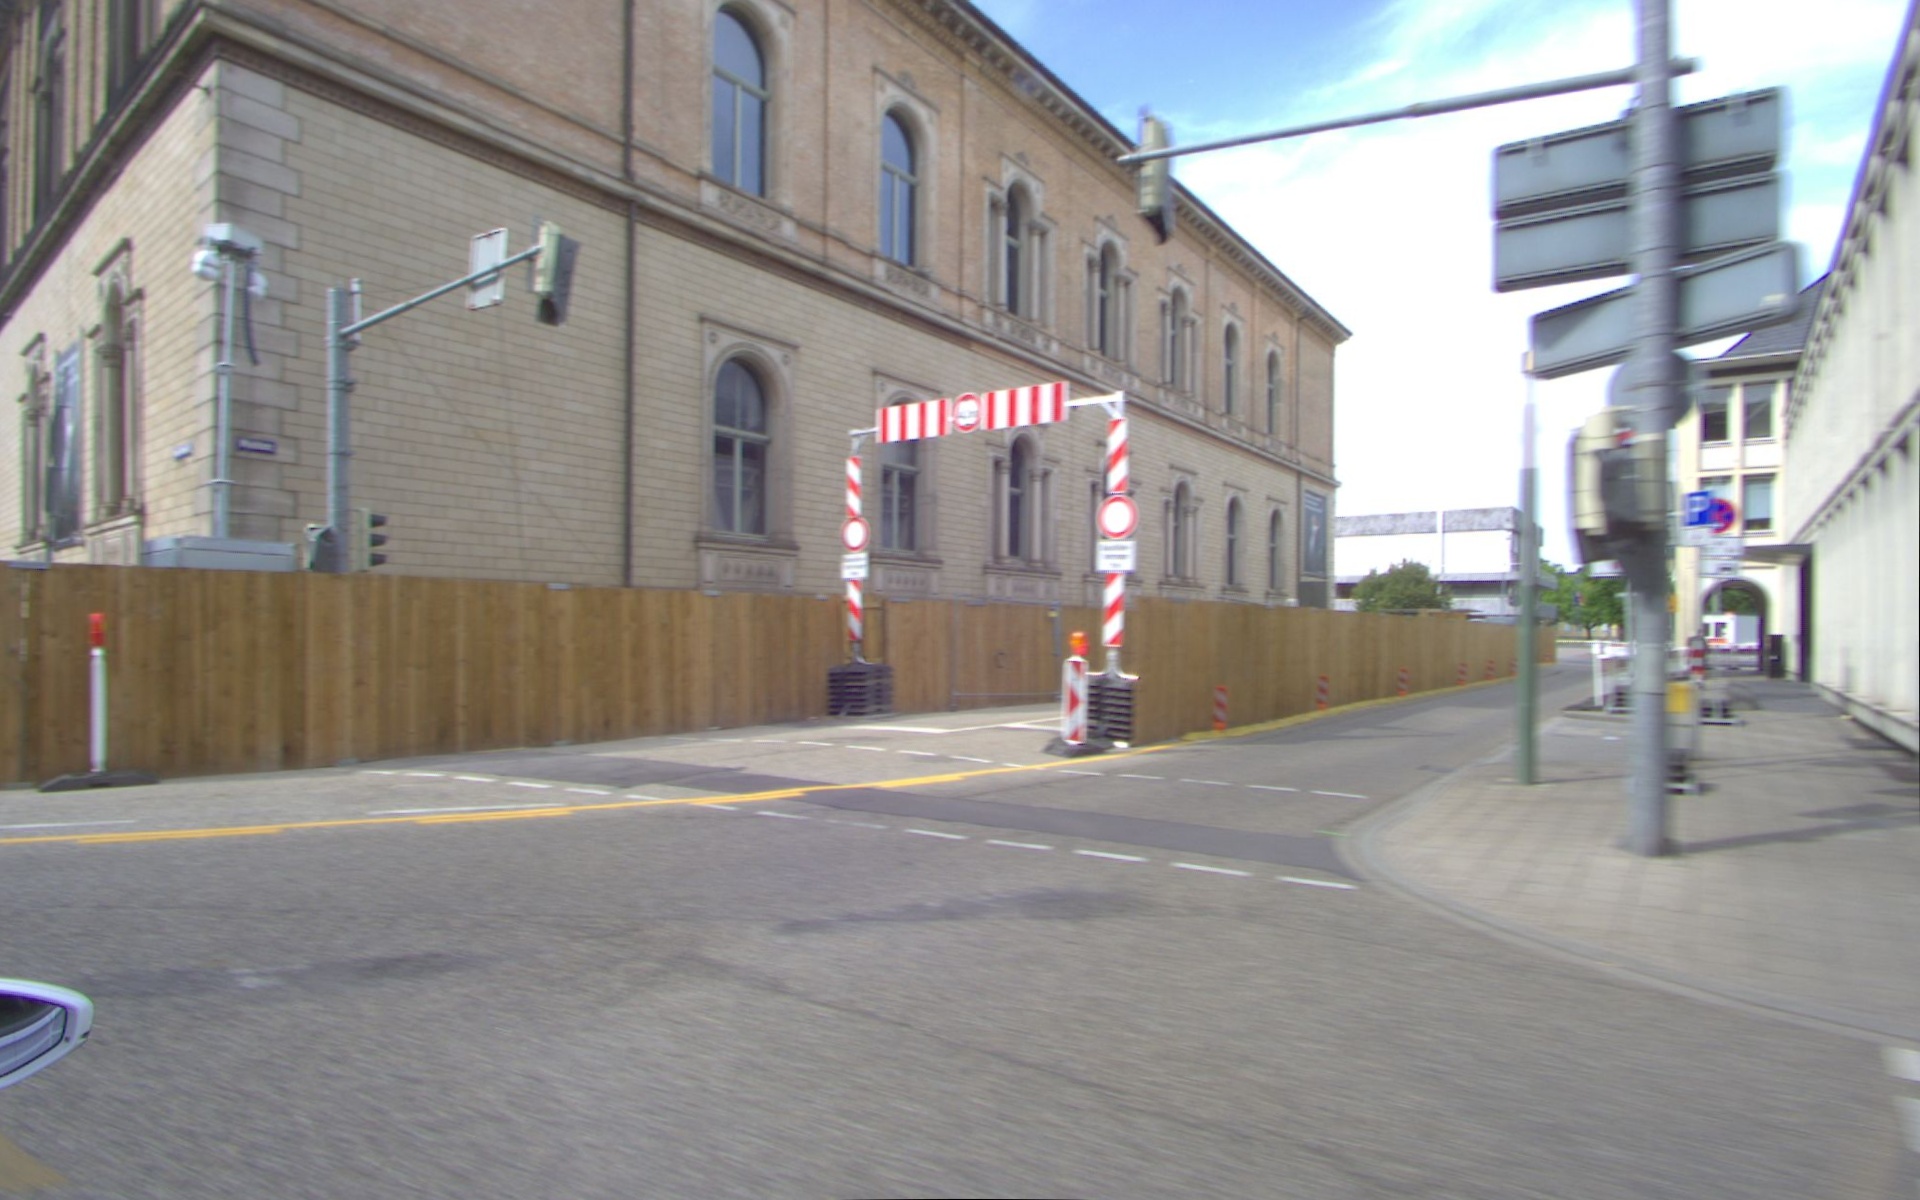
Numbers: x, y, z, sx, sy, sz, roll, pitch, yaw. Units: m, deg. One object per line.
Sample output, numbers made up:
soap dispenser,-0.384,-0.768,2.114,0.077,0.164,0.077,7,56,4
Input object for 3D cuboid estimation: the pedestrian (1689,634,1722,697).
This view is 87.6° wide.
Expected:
pedestrian,20.799,1.808,27.934,0.725,1.736,0.842,0,-1,38
